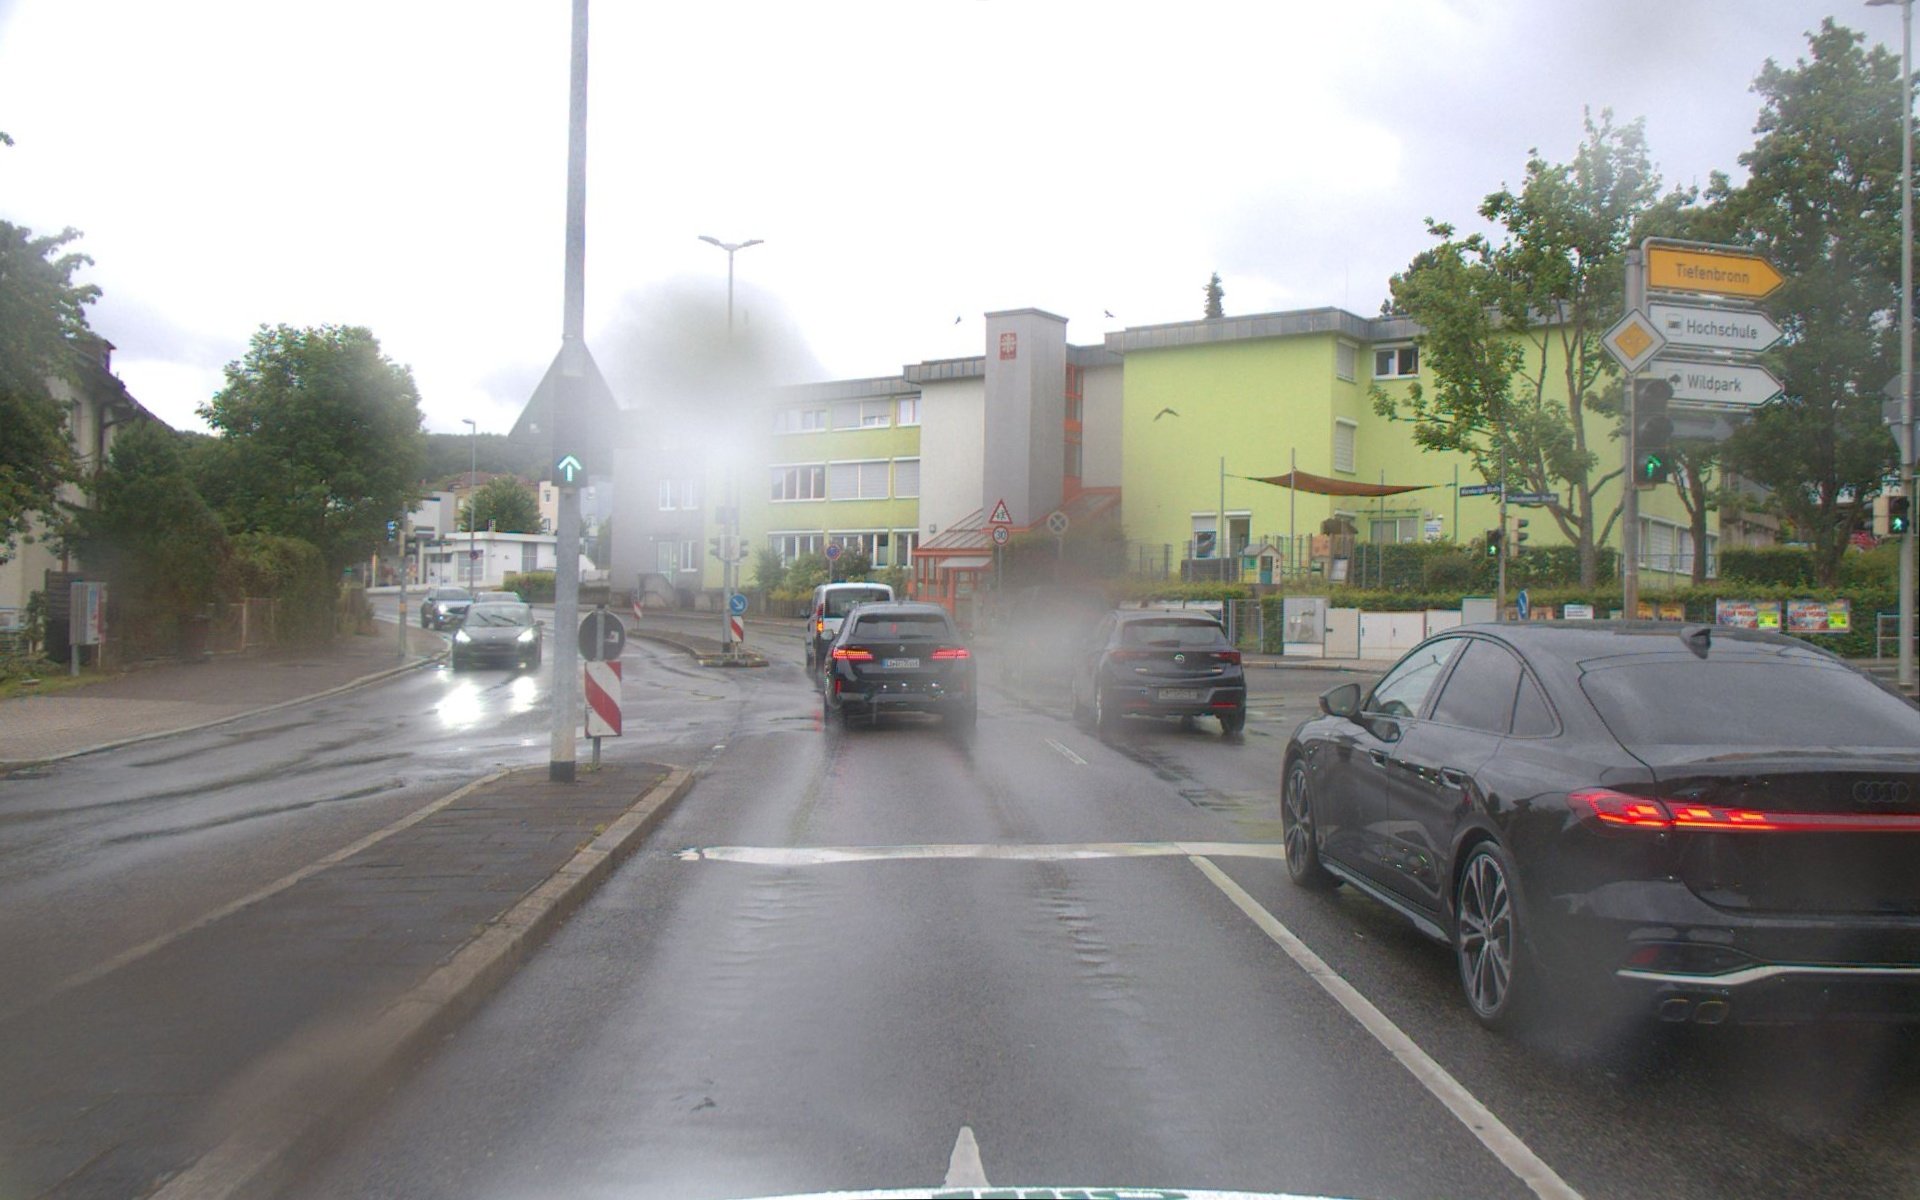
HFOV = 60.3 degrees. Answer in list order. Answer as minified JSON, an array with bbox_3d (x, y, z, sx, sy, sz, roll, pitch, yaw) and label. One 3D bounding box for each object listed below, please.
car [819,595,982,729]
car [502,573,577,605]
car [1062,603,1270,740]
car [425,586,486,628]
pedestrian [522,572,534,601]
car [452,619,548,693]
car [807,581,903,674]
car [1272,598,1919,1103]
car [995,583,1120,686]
[{"bbox_3d":[-0.840,0.705,21.001,1.651,1.532,3.766,0,0,-9],"label":"car"},{"bbox_3d":[-25.632,-0.652,100.758,4.326,1.803,1.990,-2,0,-18],"label":"car"},{"bbox_3d":[2.491,0.819,20.985,1.814,1.512,4.082,0,0,-5],"label":"car"},{"bbox_3d":[-20.039,0.290,65.617,1.602,1.609,3.739,-2,0,-28],"label":"car"},{"bbox_3d":[-24.529,-0.773,93.938,0.418,1.648,0.466,-1,0,-44],"label":"pedestrian"},{"bbox_3d":[-10.447,1.230,37.812,1.761,1.515,4.142,-2,0,-11],"label":"car"},{"bbox_3d":[-2.338,0.542,35.911,1.685,1.876,4.078,0,1,-10],"label":"car"},{"bbox_3d":[2.682,0.733,7.127,1.672,1.452,4.507,0,0,-2],"label":"car"},{"bbox_3d":[1.766,0.603,31.278,1.748,1.764,4.082,-2,0,-5],"label":"car"}]
